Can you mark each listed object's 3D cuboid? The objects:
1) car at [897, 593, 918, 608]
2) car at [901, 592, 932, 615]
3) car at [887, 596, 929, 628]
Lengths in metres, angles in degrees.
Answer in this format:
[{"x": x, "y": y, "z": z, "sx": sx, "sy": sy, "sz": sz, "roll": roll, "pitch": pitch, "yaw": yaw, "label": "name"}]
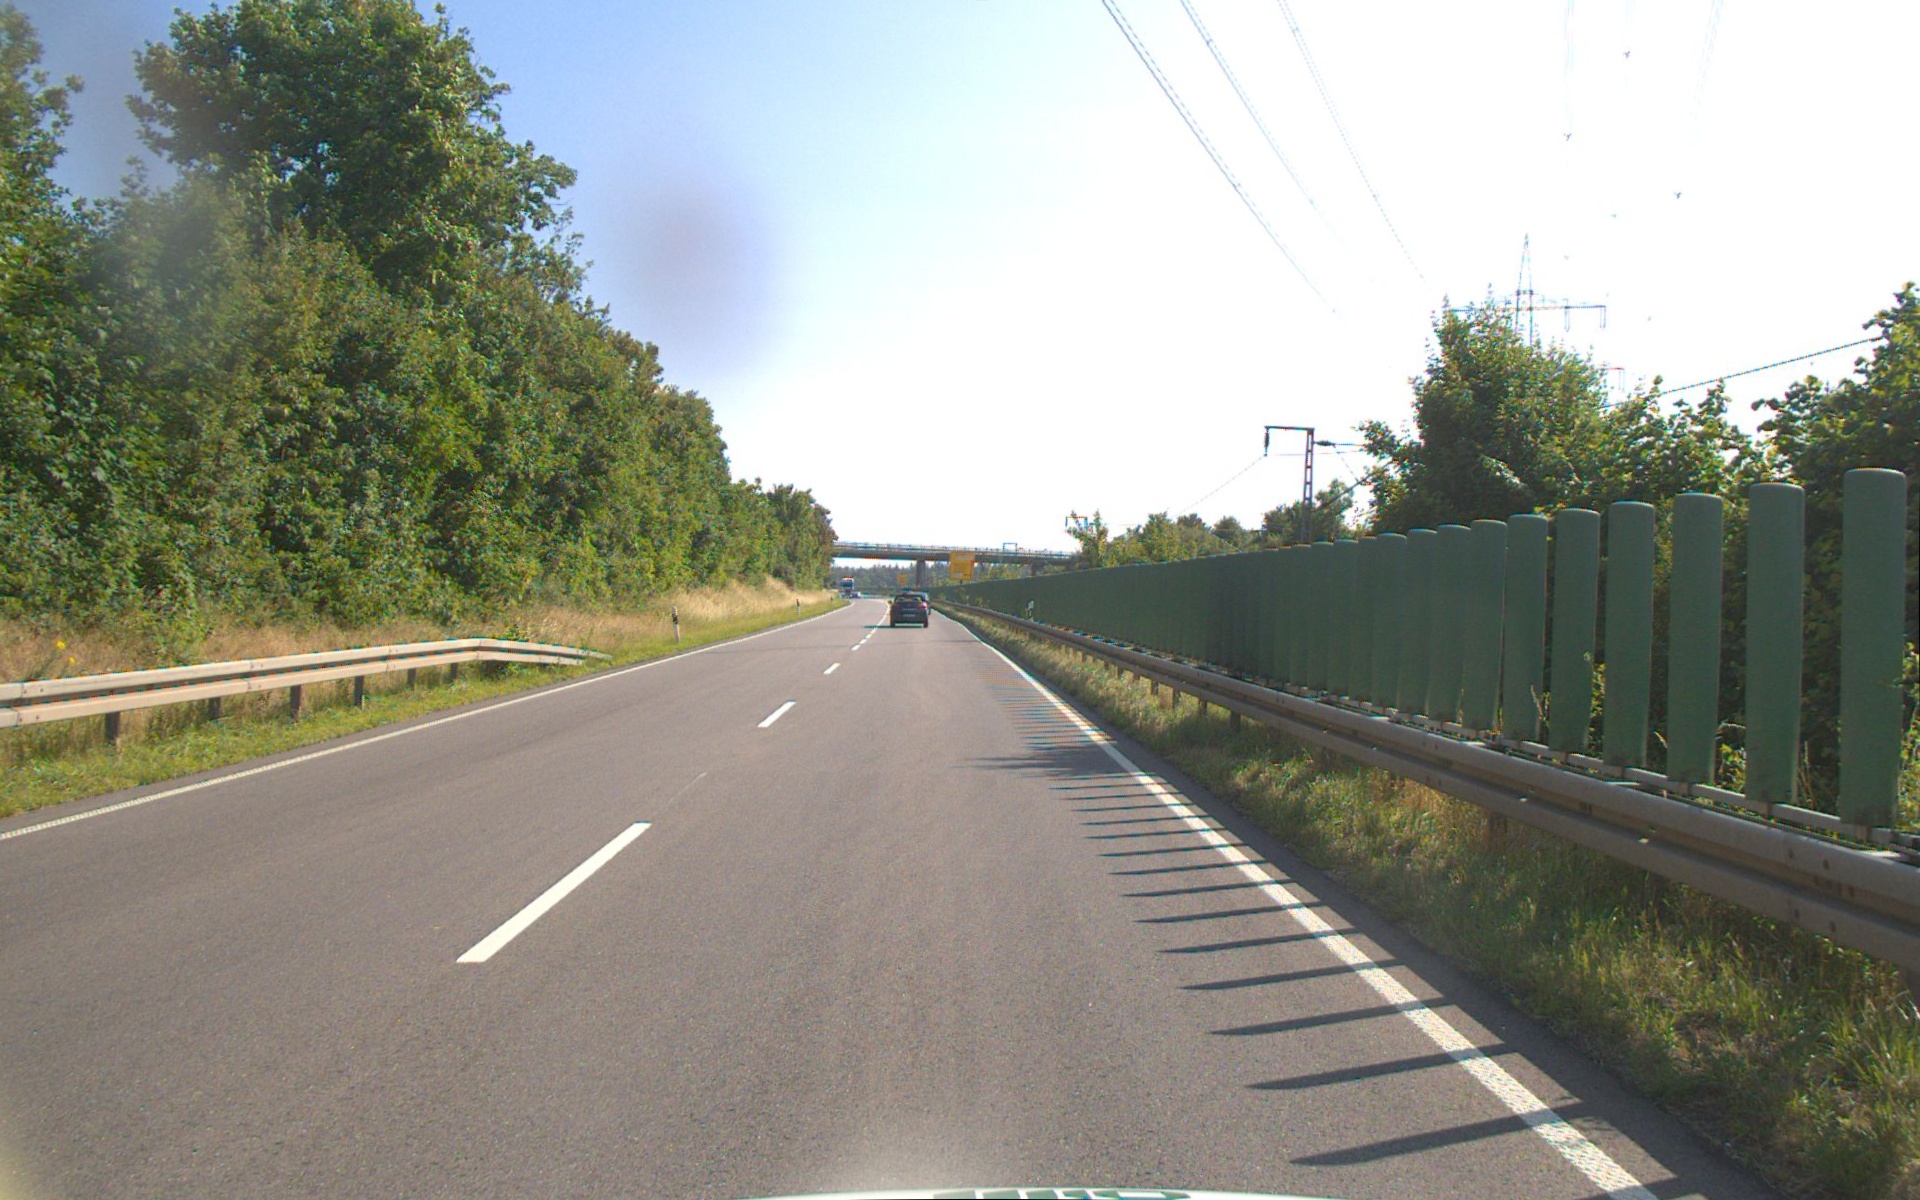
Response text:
[{"x": -5.118, "y": 0.052, "z": 160.936, "sx": 1.857, "sy": 1.443, "sz": 3.997, "roll": 1, "pitch": 0, "yaw": -4, "label": "car"}, {"x": -2.861, "y": 0.253, "z": 108.845, "sx": 1.857, "sy": 1.443, "sz": 3.997, "roll": 2, "pitch": 0, "yaw": -4, "label": "car"}, {"x": -2.226, "y": 0.508, "z": 70.254, "sx": 1.630, "sy": 1.283, "sz": 3.997, "roll": 1, "pitch": 0, "yaw": -4, "label": "car"}]
